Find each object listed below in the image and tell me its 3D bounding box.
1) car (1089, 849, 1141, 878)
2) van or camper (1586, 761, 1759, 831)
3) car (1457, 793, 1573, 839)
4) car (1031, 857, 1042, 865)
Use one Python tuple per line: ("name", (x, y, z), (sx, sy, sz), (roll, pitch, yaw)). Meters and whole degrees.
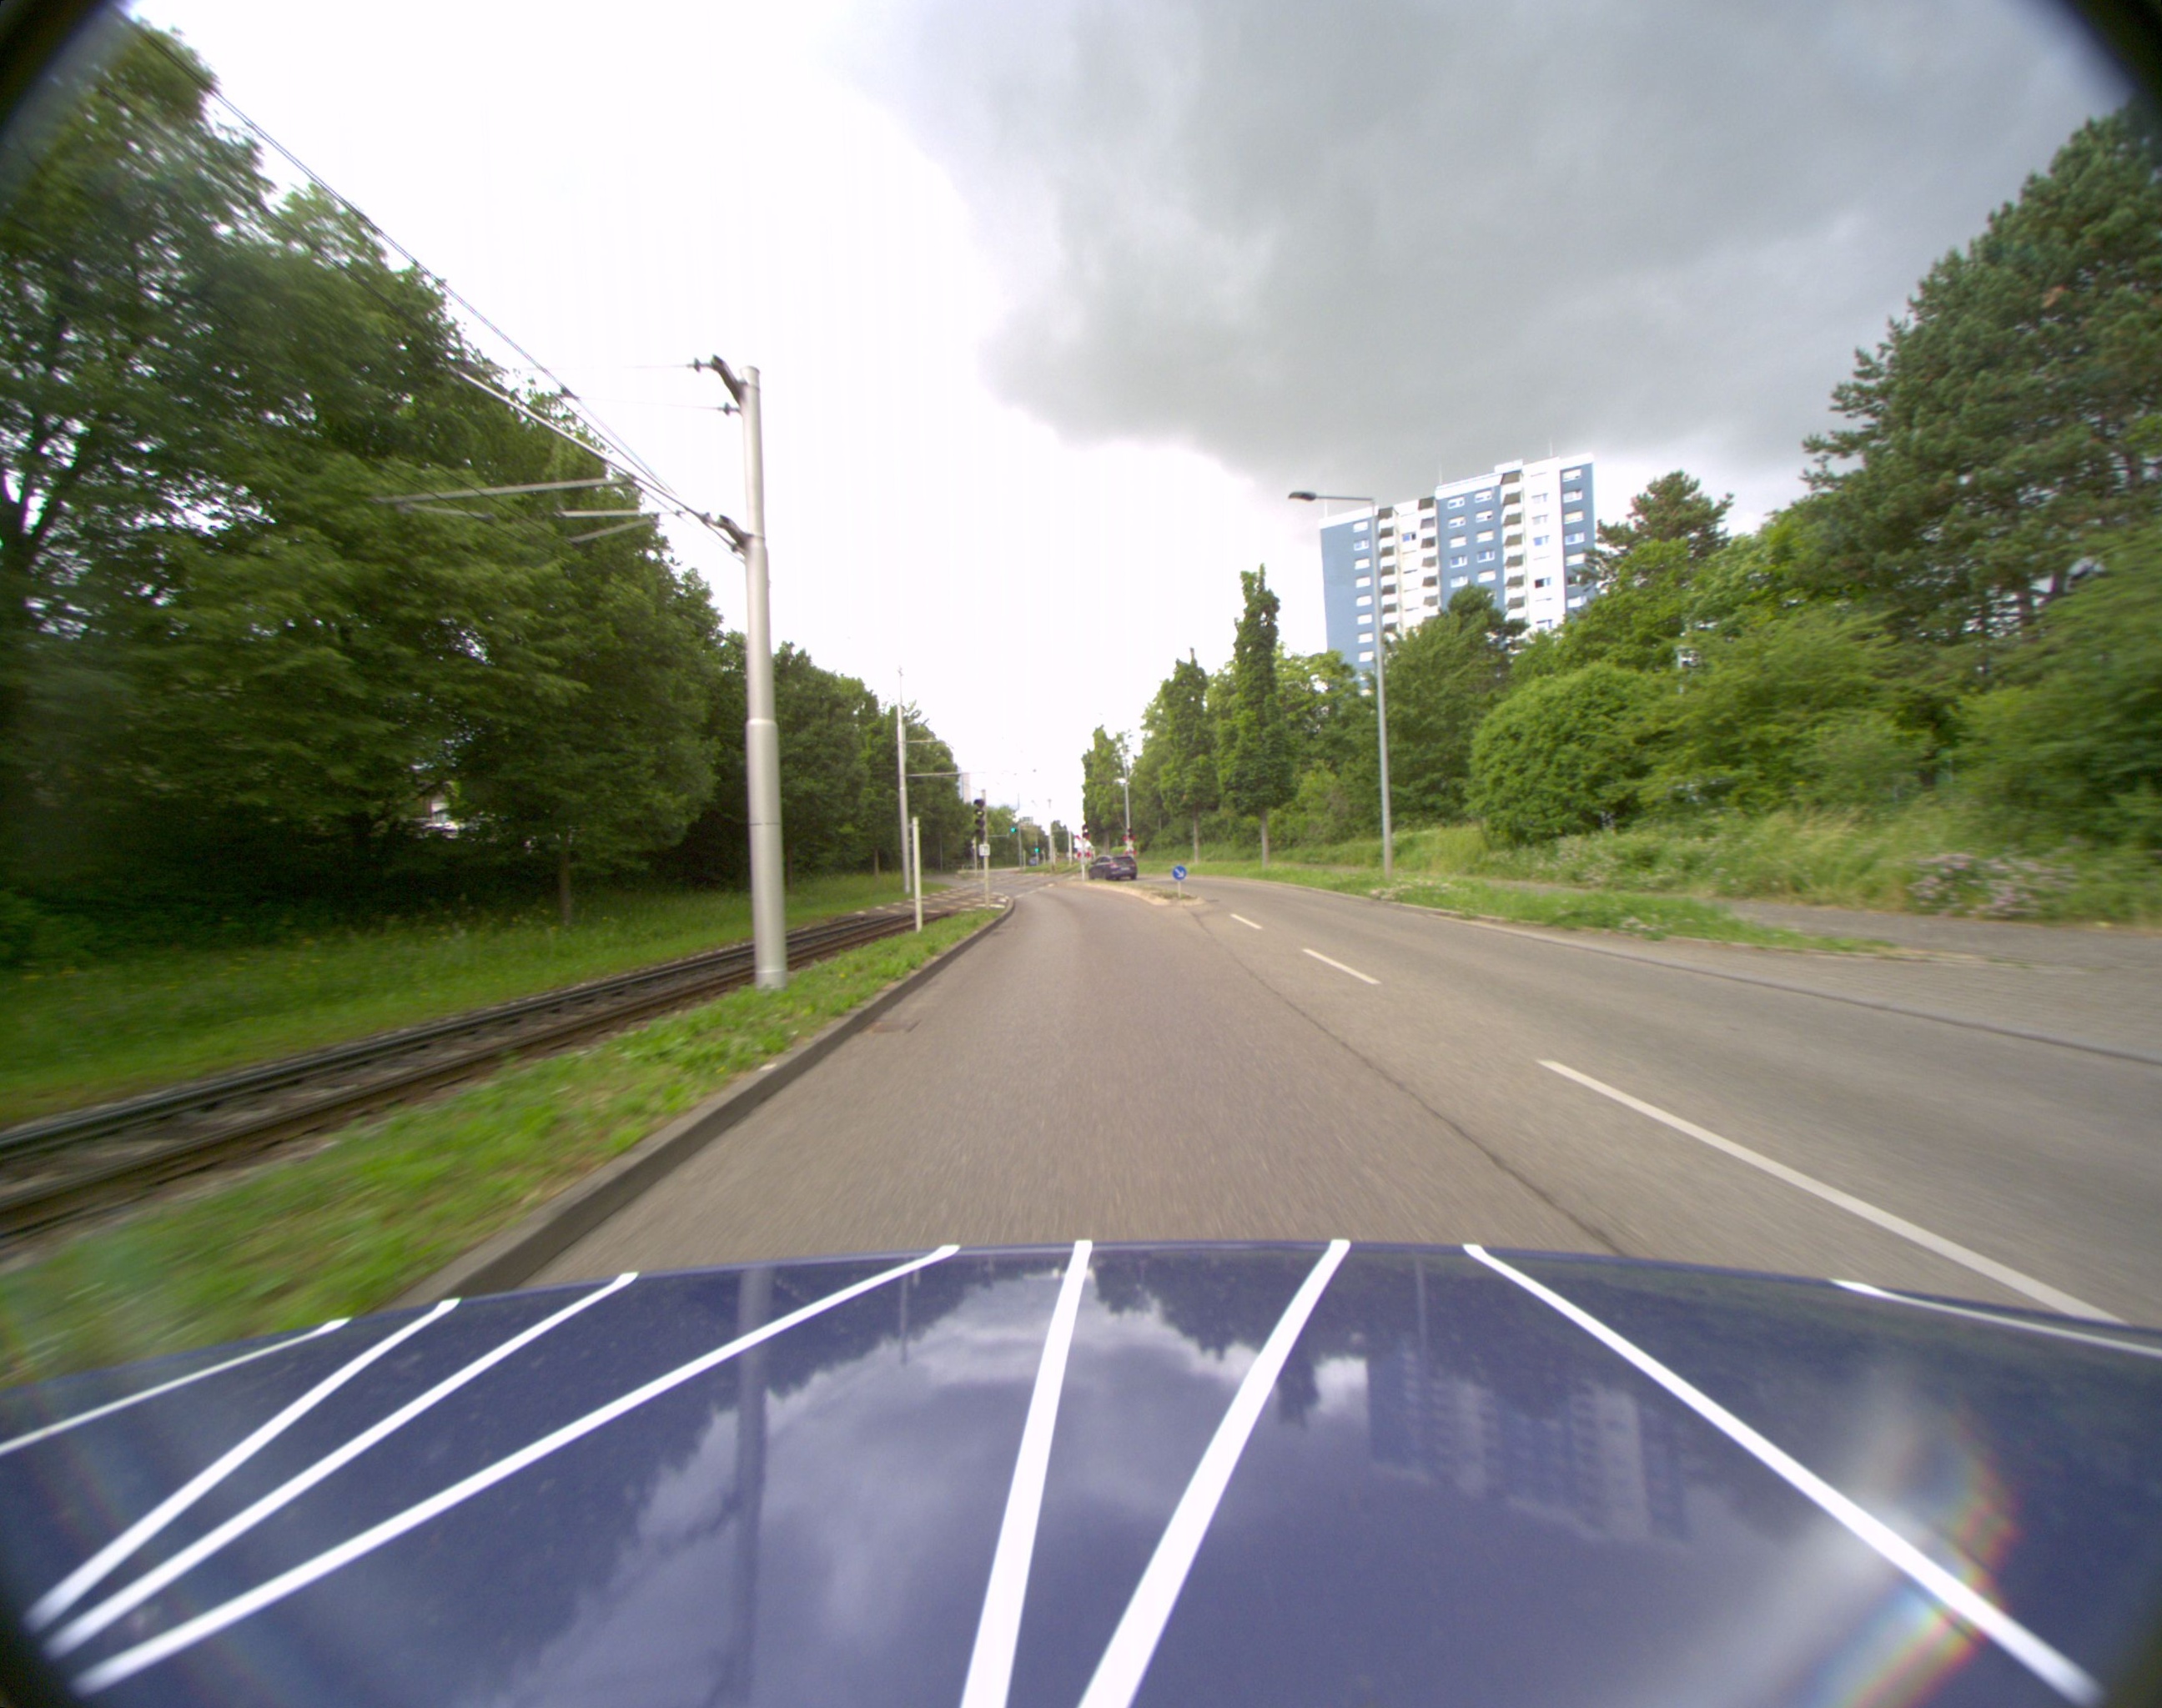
("car", (1.832, 0.517, 42.250), (2.000, 1.430, 4.422), (-4, 0, -8))
("van or camper", (19.256, -1.819, 25.074), (1.999, 1.866, 4.629), (-3, 0, -1))
("car", (19.550, -1.652, 34.564), (2.144, 1.715, 5.323), (-3, 0, 0))
("car", (-8.736, 1.323, 148.363), (1.873, 1.512, 4.237), (-3, -1, -6))
